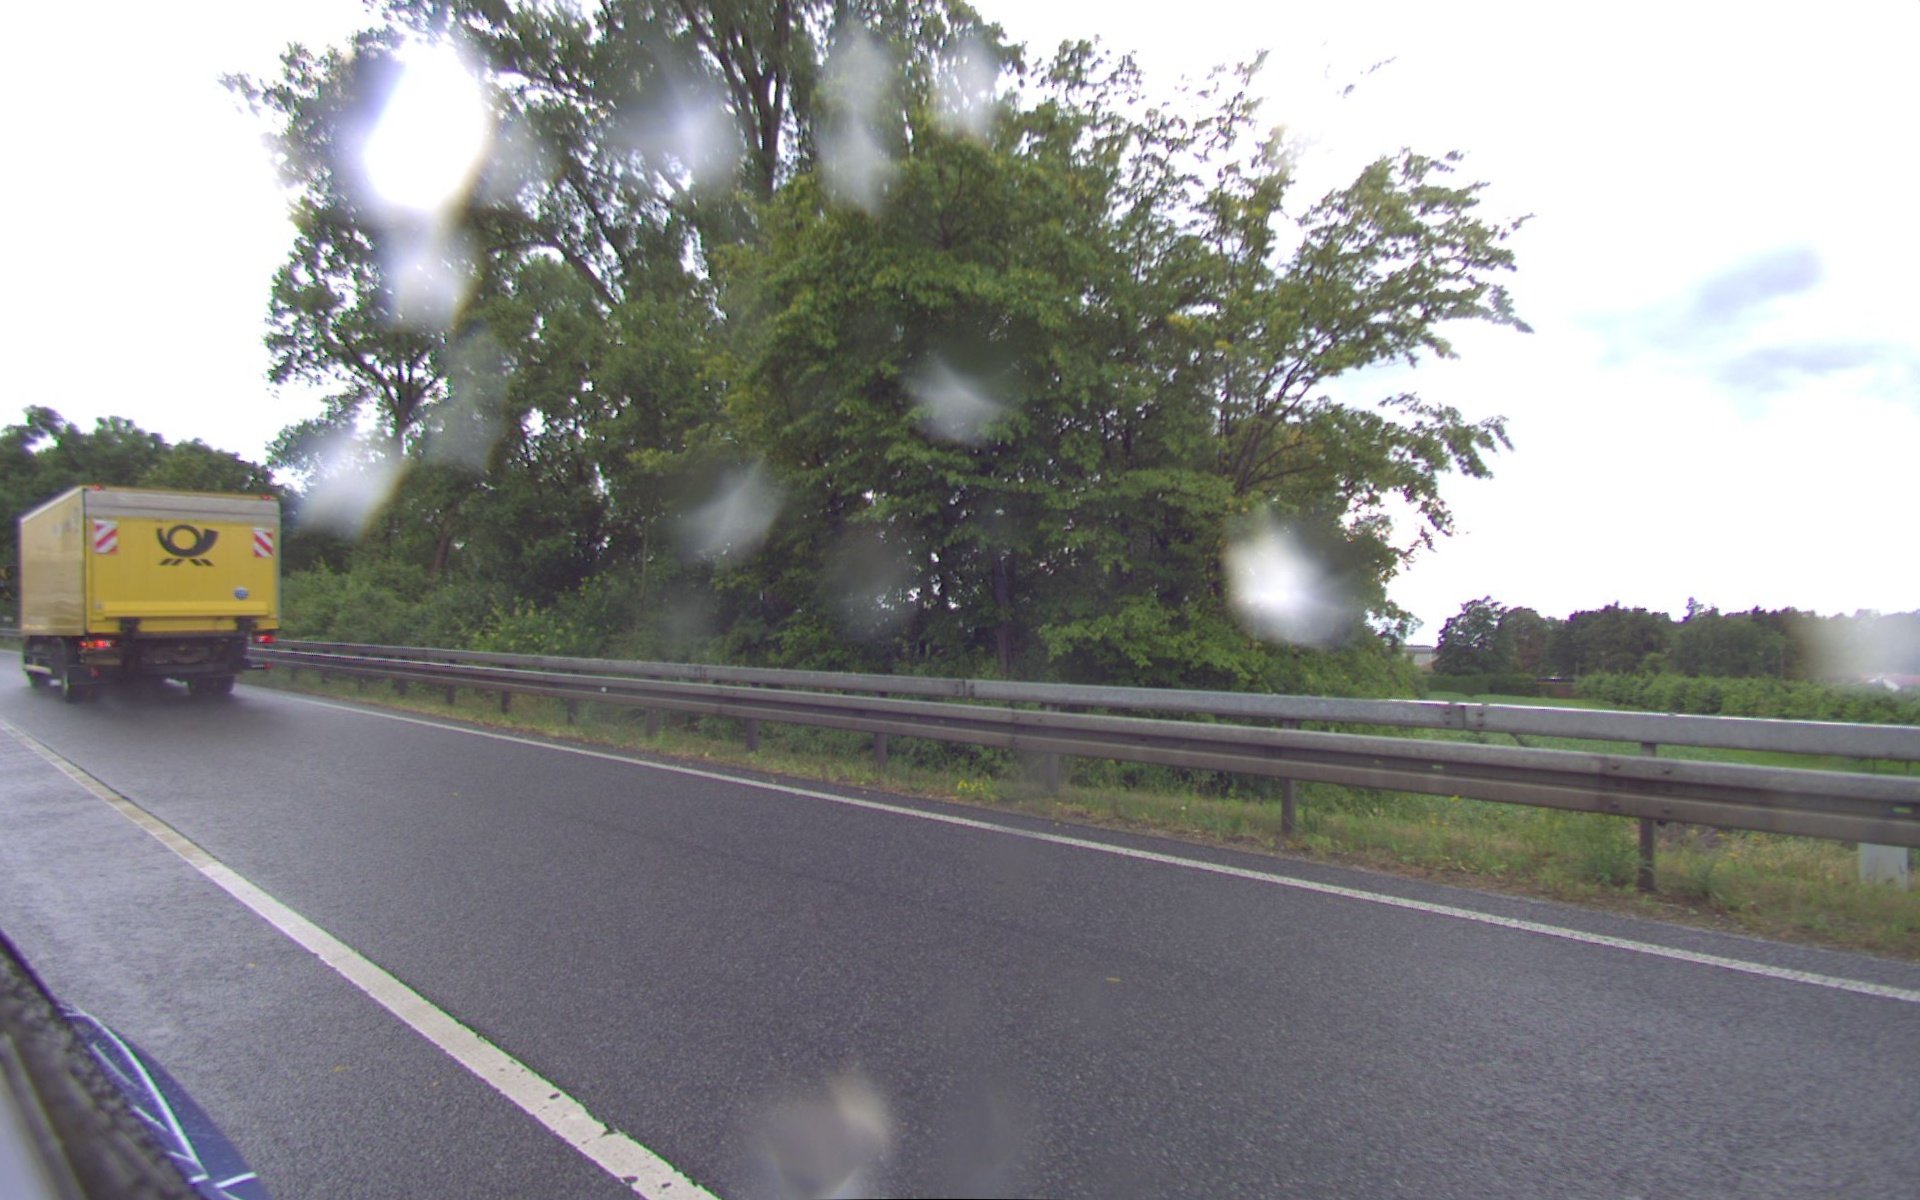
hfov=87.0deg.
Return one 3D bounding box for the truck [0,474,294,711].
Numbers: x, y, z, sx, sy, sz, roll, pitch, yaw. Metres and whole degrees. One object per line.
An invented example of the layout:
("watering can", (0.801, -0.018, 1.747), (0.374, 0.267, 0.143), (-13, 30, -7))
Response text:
("truck", (-15.430, -0.066, 18.783), (9.182, 3.455, 2.742), (-1, -1, 41))
